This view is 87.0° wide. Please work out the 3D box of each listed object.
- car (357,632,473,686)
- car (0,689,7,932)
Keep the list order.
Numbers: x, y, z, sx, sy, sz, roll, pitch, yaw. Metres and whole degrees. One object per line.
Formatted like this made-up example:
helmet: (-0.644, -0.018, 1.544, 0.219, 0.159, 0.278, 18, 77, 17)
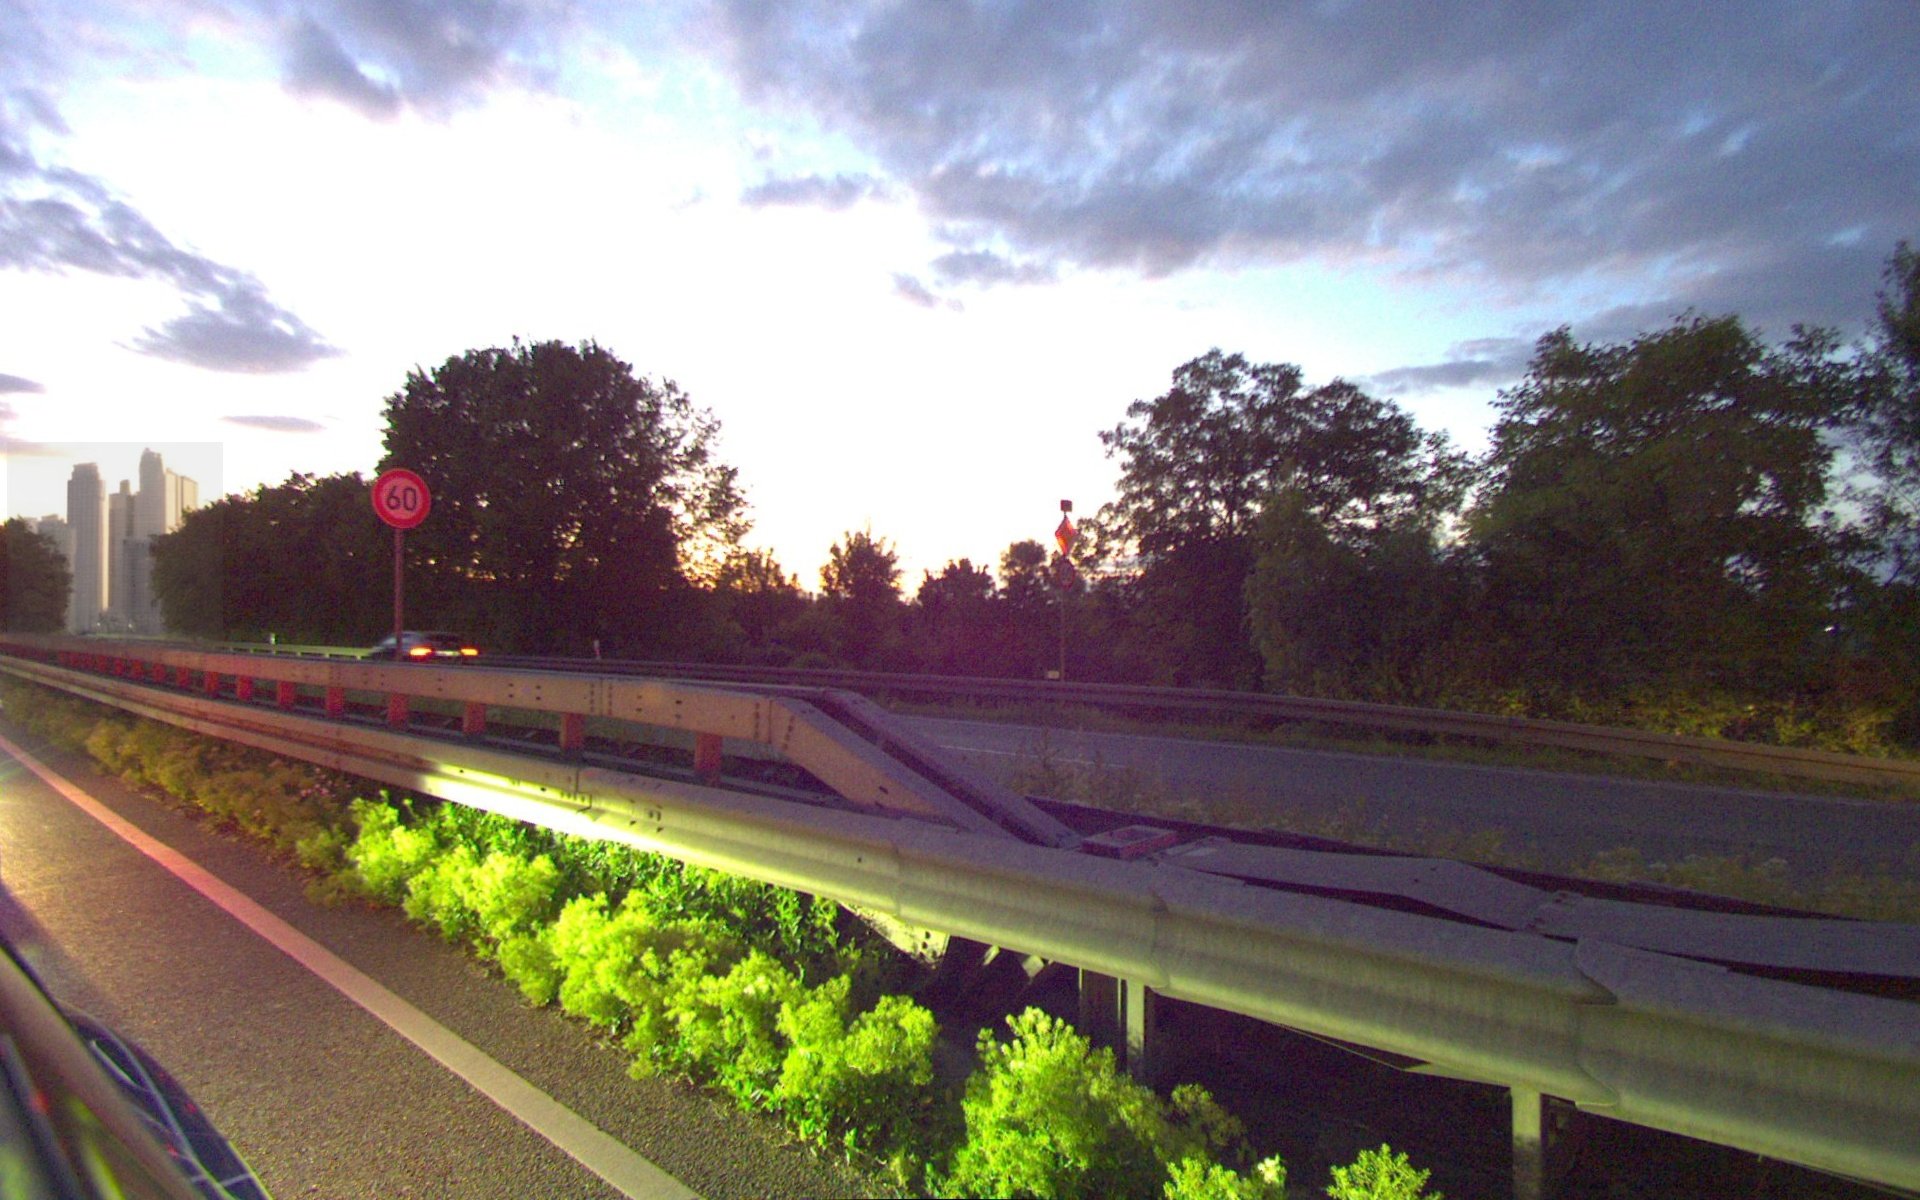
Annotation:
car: (-16.740, 1.770, 30.984, 4.589, 1.516, 1.611, -1, -3, 41)
car: (-6.725, 0.889, 5.559, 4.645, 1.447, 1.795, -2, 0, 42)
